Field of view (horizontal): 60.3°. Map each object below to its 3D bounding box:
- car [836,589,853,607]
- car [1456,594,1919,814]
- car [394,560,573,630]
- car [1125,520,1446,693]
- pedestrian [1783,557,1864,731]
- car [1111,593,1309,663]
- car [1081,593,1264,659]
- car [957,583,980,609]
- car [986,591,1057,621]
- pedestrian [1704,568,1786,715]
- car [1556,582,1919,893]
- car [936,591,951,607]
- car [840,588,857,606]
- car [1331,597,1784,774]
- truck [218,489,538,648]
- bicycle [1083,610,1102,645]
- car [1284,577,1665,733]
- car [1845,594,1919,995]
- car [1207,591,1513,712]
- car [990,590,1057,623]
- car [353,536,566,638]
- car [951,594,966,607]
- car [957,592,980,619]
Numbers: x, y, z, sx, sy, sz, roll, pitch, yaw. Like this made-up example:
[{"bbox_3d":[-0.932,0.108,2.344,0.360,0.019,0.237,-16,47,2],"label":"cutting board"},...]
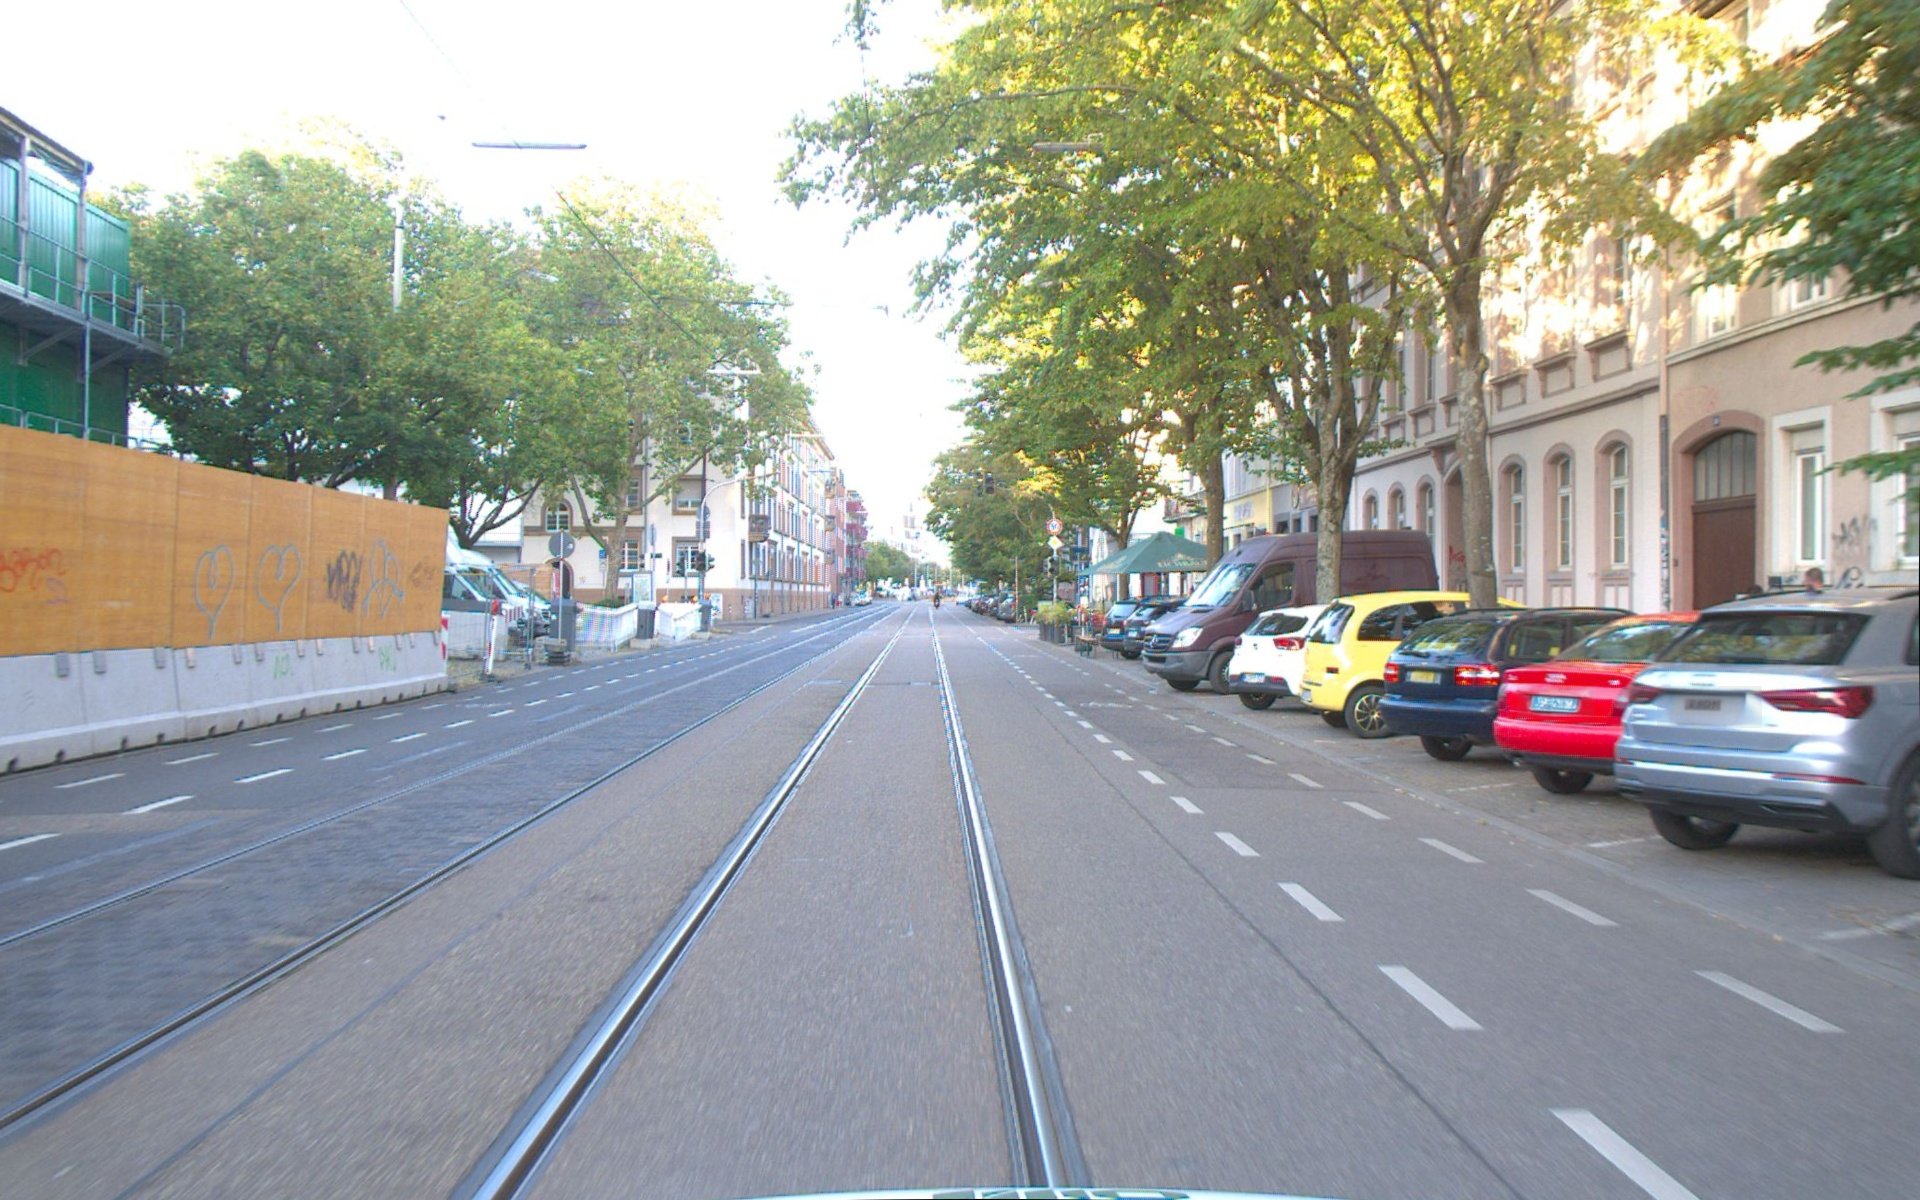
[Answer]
[{"bbox_3d":[-13.655,-0.225,195.518,1.859,2.049,3.999,1,0,-1],"label":"car"},{"bbox_3d":[6.195,0.729,13.267,4.072,1.450,1.881,-2,0,-27],"label":"car"},{"bbox_3d":[-15.099,-0.185,52.615,4.922,1.979,2.228,2,1,3],"label":"car"},{"bbox_3d":[5.544,0.071,28.254,5.016,2.689,2.011,-2,0,-18],"label":"car"},{"bbox_3d":[9.329,0.462,17.879,0.554,1.846,0.607,0,0,-1],"label":"pedestrian"},{"bbox_3d":[5.794,0.630,38.448,4.109,1.488,1.999,-1,0,-17],"label":"car"},{"bbox_3d":[5.314,0.621,41.293,4.124,1.525,1.992,-1,0,-26],"label":"car"},{"bbox_3d":[0.700,-0.339,137.482,1.768,2.049,3.999,1,0,-1],"label":"car"},{"bbox_3d":[3.338,0.304,90.432,3.808,1.620,1.861,0,0,0],"label":"car"},{"bbox_3d":[8.705,0.447,18.357,0.527,1.595,0.813,0,0,0],"label":"pedestrian"},{"bbox_3d":[6.007,0.684,10.290,4.195,1.588,1.883,-2,0,-24],"label":"car"},{"bbox_3d":[-2.137,-0.085,215.285,1.859,2.049,3.999,1,0,-1],"label":"car"},{"bbox_3d":[-13.491,-0.356,200.167,1.859,2.216,3.999,1,0,-1],"label":"car"},{"bbox_3d":[5.866,0.761,16.204,4.072,1.450,1.904,-2,0,-27],"label":"car"},{"bbox_3d":[-14.228,-0.760,40.867,6.919,3.541,2.539,2,0,-5],"label":"truck"},{"bbox_3d":[4.118,0.848,51.564,0.410,1.033,1.829,1,0,-1],"label":"bicycle"},{"bbox_3d":[5.986,0.620,19.585,3.870,1.648,1.920,-2,0,-1],"label":"car"},{"bbox_3d":[5.937,0.714,6.336,4.176,1.576,2.014,-2,0,-12],"label":"car"},{"bbox_3d":[5.704,0.695,23.600,3.901,1.512,1.905,-2,-1,-25],"label":"car"},{"bbox_3d":[3.633,0.358,95.491,3.808,1.880,1.861,0,0,0],"label":"car"},{"bbox_3d":[-14.095,-0.372,46.824,5.293,2.603,2.225,2,1,-4],"label":"car"},{"bbox_3d":[-0.254,0.018,226.631,1.923,1.748,3.999,1,0,-1],"label":"car"},{"bbox_3d":[0.680,0.404,129.147,1.687,2.049,3.999,1,0,-1],"label":"car"}]
